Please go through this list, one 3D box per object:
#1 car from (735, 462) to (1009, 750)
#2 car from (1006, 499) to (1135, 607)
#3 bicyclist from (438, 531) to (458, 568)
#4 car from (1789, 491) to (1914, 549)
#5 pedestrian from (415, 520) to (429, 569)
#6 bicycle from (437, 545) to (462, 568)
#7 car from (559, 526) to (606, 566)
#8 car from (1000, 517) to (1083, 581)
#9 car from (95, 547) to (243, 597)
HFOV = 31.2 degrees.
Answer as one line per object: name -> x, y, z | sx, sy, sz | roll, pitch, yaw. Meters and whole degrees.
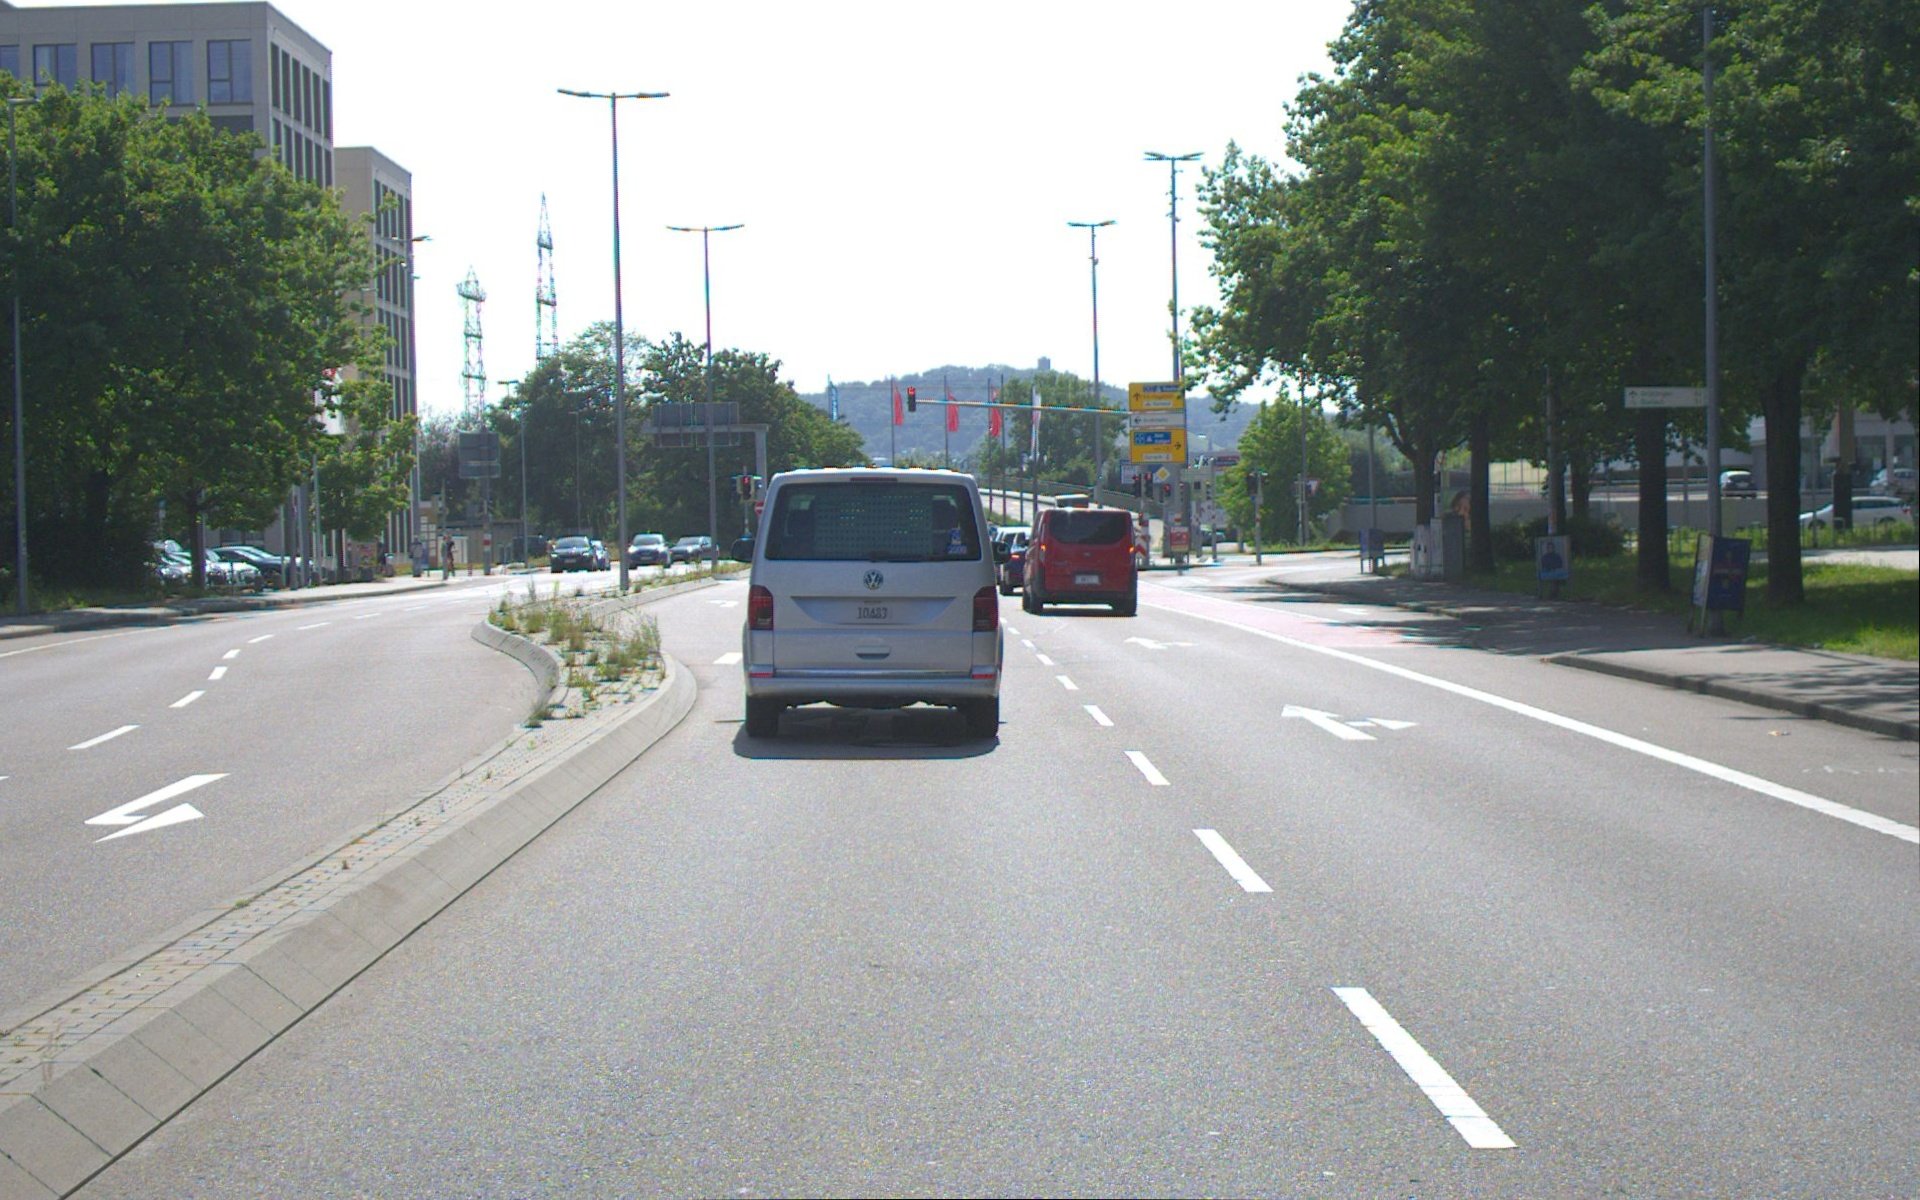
car -> -0.637, -0.005, 25.797 | 1.884, 1.983, 4.000 | 0, 1, -1
car -> 2.053, -0.908, 65.215 | 1.967, 1.961, 5.126 | 0, 1, -4
bicyclist -> -21.003, -2.073, 141.059 | 0.618, 1.521, 1.036 | -2, 1, 0
car -> 34.746, -3.115, 134.024 | 4.402, 1.987, 1.481 | -3, 1, 4
pedestrian -> -22.396, -2.307, 143.149 | 0.558, 2.007, 0.576 | 0, 1, -9
bicycle -> -20.971, -1.789, 141.257 | 0.680, 0.937, 1.973 | -2, 1, 0
car -> -16.730, -2.415, 152.557 | 1.738, 1.613, 4.210 | -4, 1, -3
car -> 1.881, -1.211, 80.402 | 1.746, 1.453, 4.476 | 0, 1, -1
car -> -23.669, -0.856, 103.005 | 3.874, 1.162, 1.911 | -4, 2, 3
